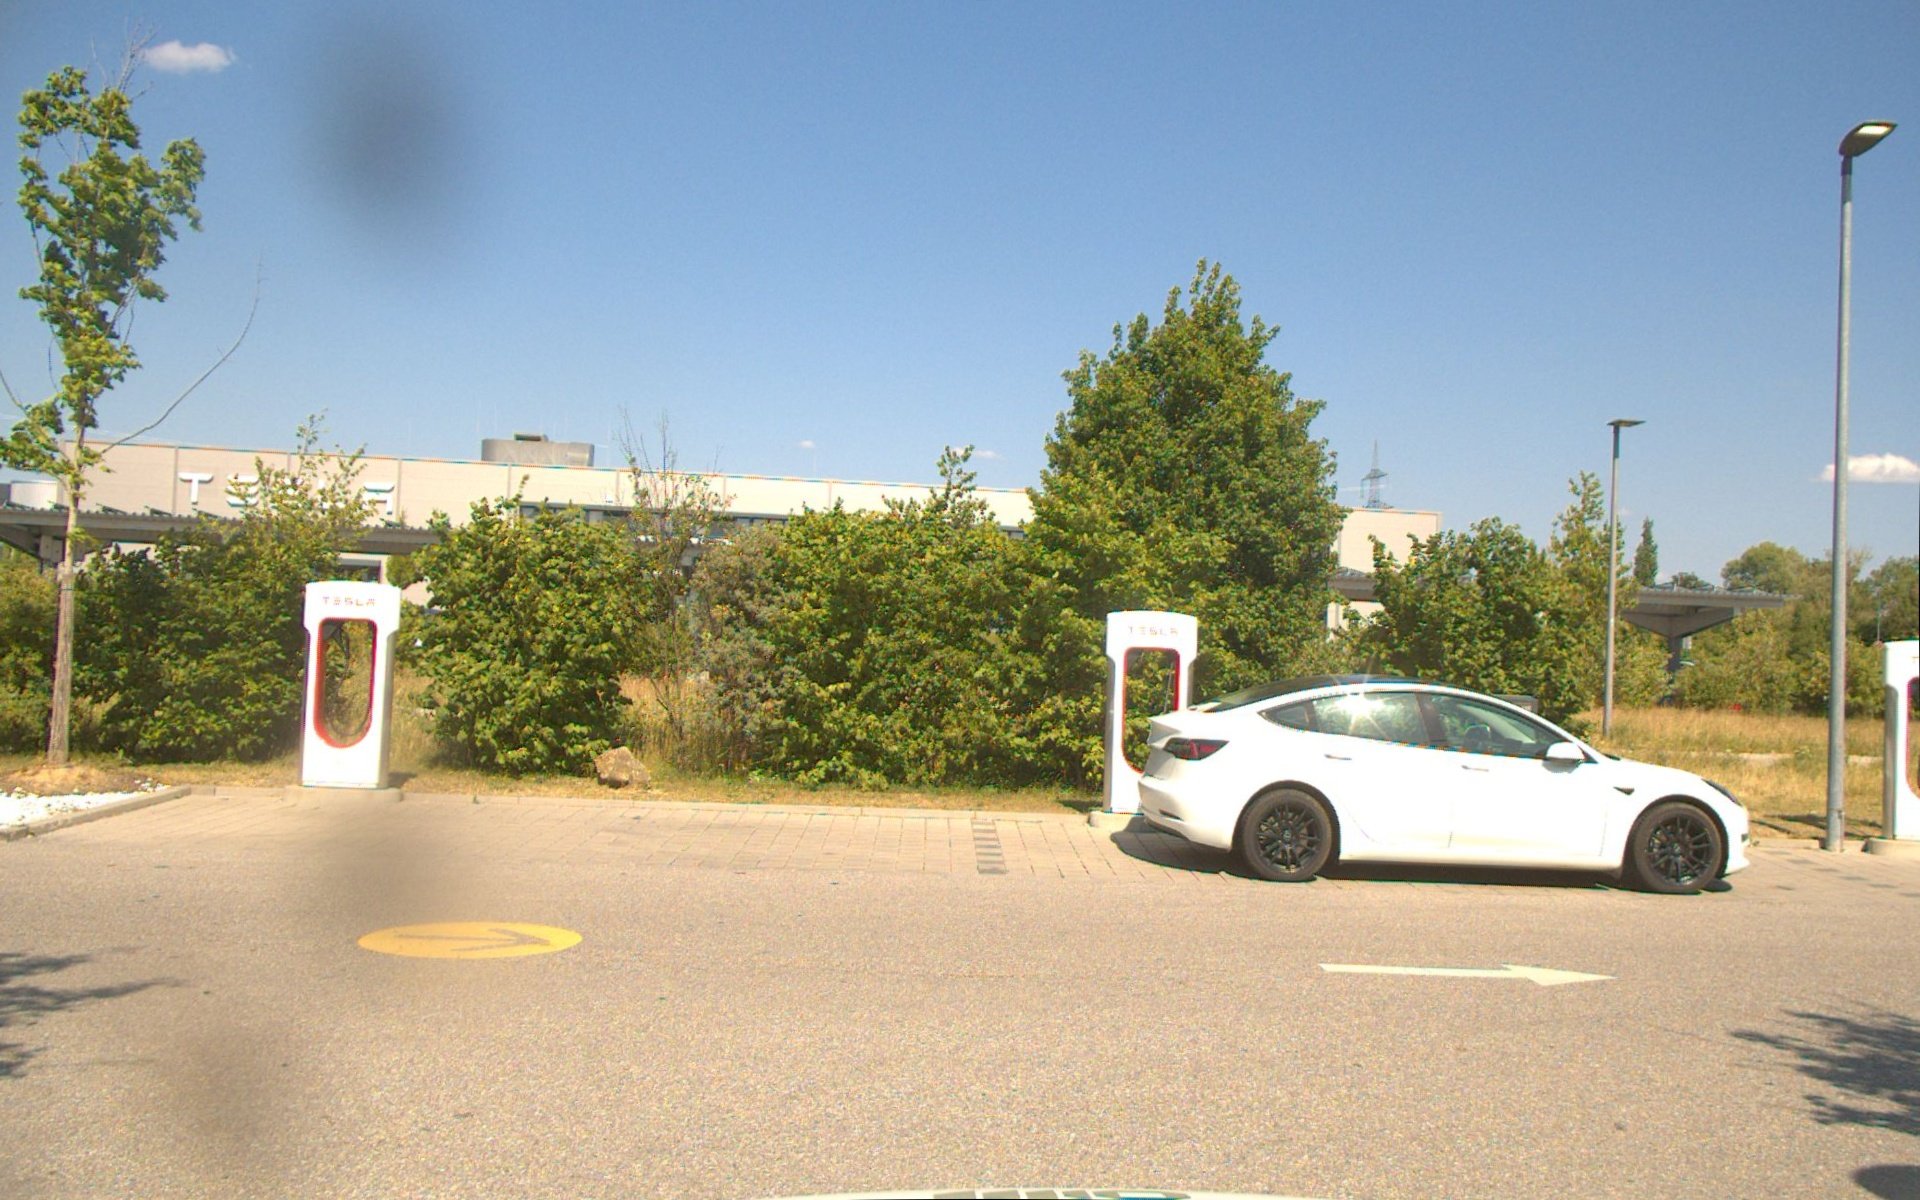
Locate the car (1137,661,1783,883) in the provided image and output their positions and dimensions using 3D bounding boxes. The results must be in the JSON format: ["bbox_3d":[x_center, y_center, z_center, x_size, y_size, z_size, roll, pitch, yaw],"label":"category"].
[{"bbox_3d":[3.632,1.246,12.565,4.344,1.402,1.822,2,-1,-1],"label":"car"}]
